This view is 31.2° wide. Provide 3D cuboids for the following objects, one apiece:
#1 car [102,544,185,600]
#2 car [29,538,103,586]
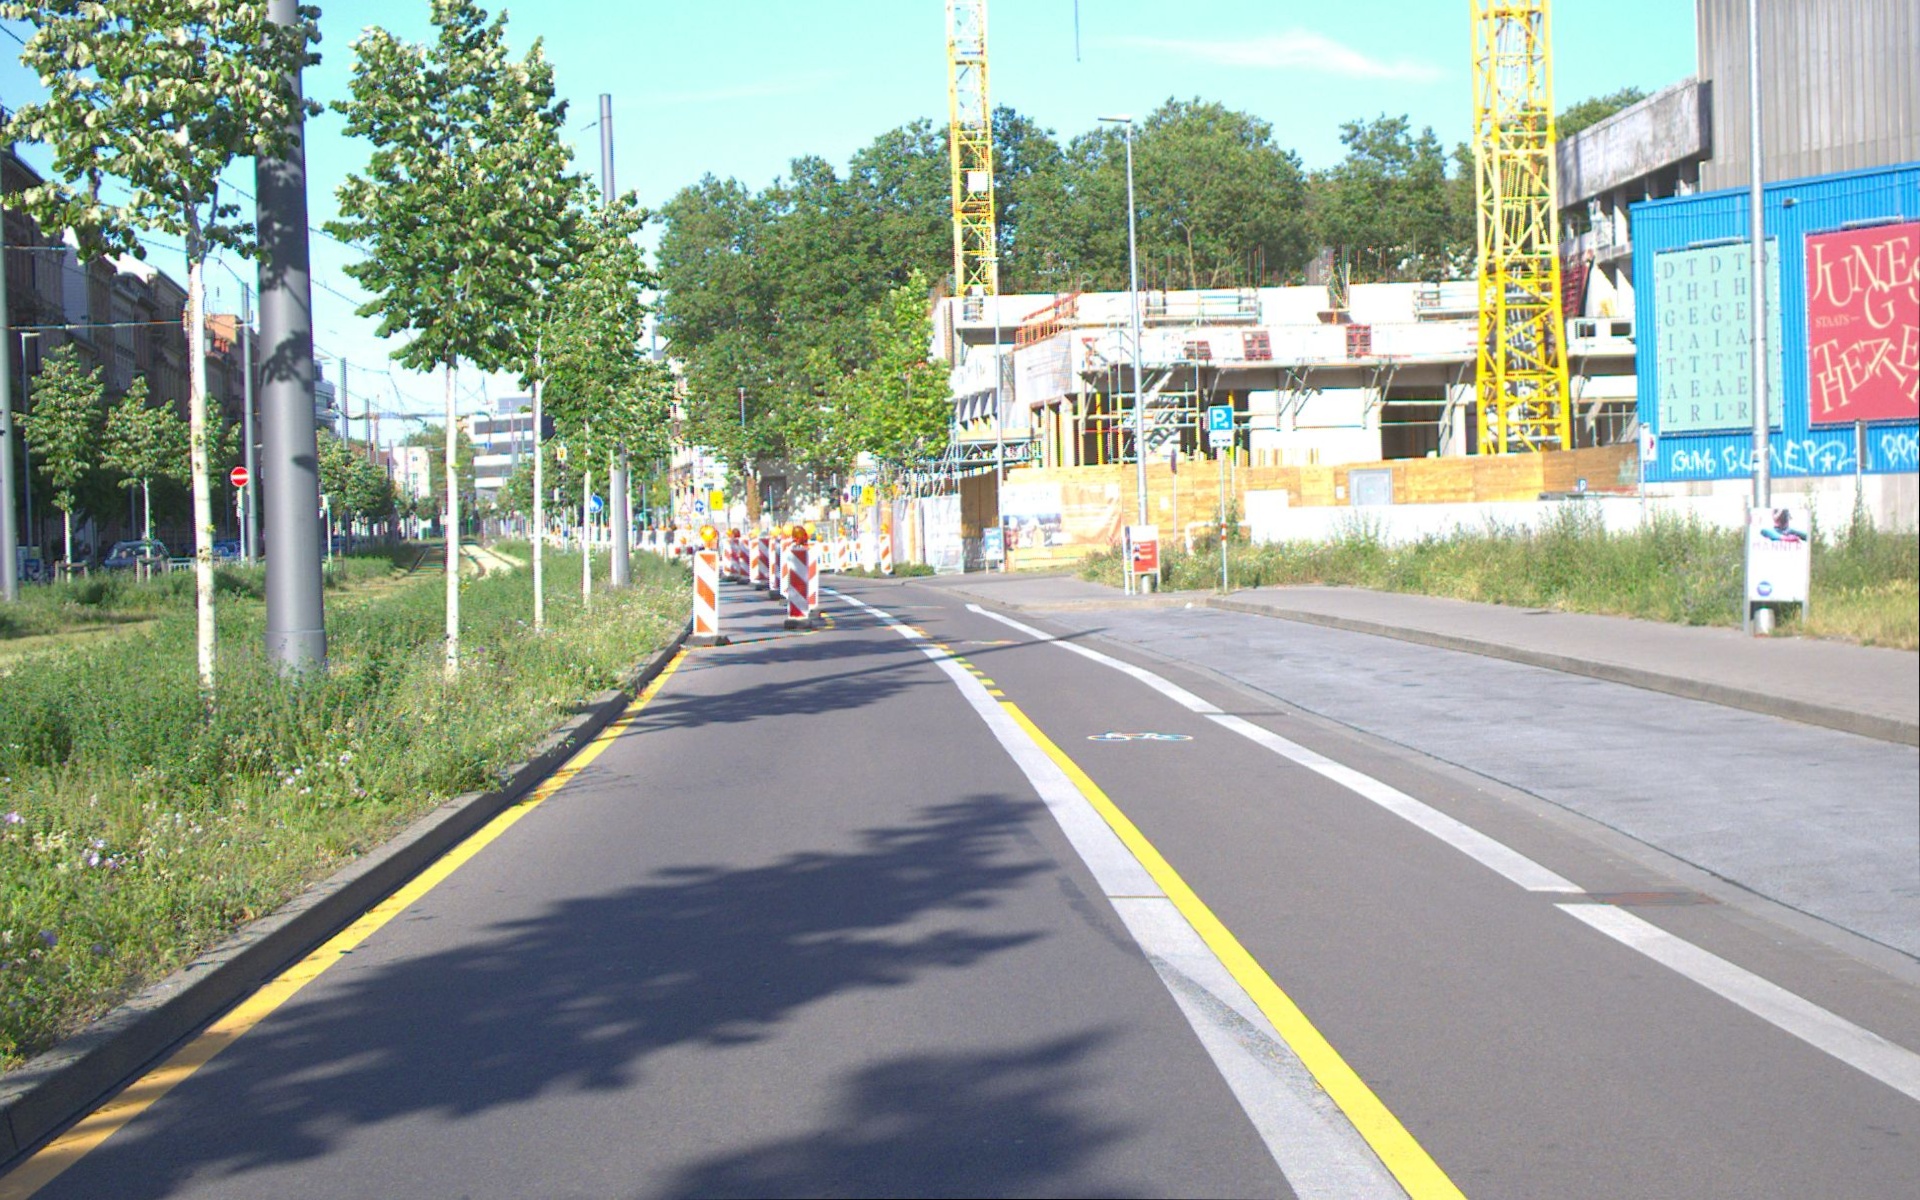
[{"bbox_3d":[-24.443,-0.851,103.006,1.903,1.570,4.302,-2,1,-7],"label":"car"},{"bbox_3d":[-31.044,-1.332,119.417,1.903,1.570,4.302,-2,1,-7],"label":"car"}]
